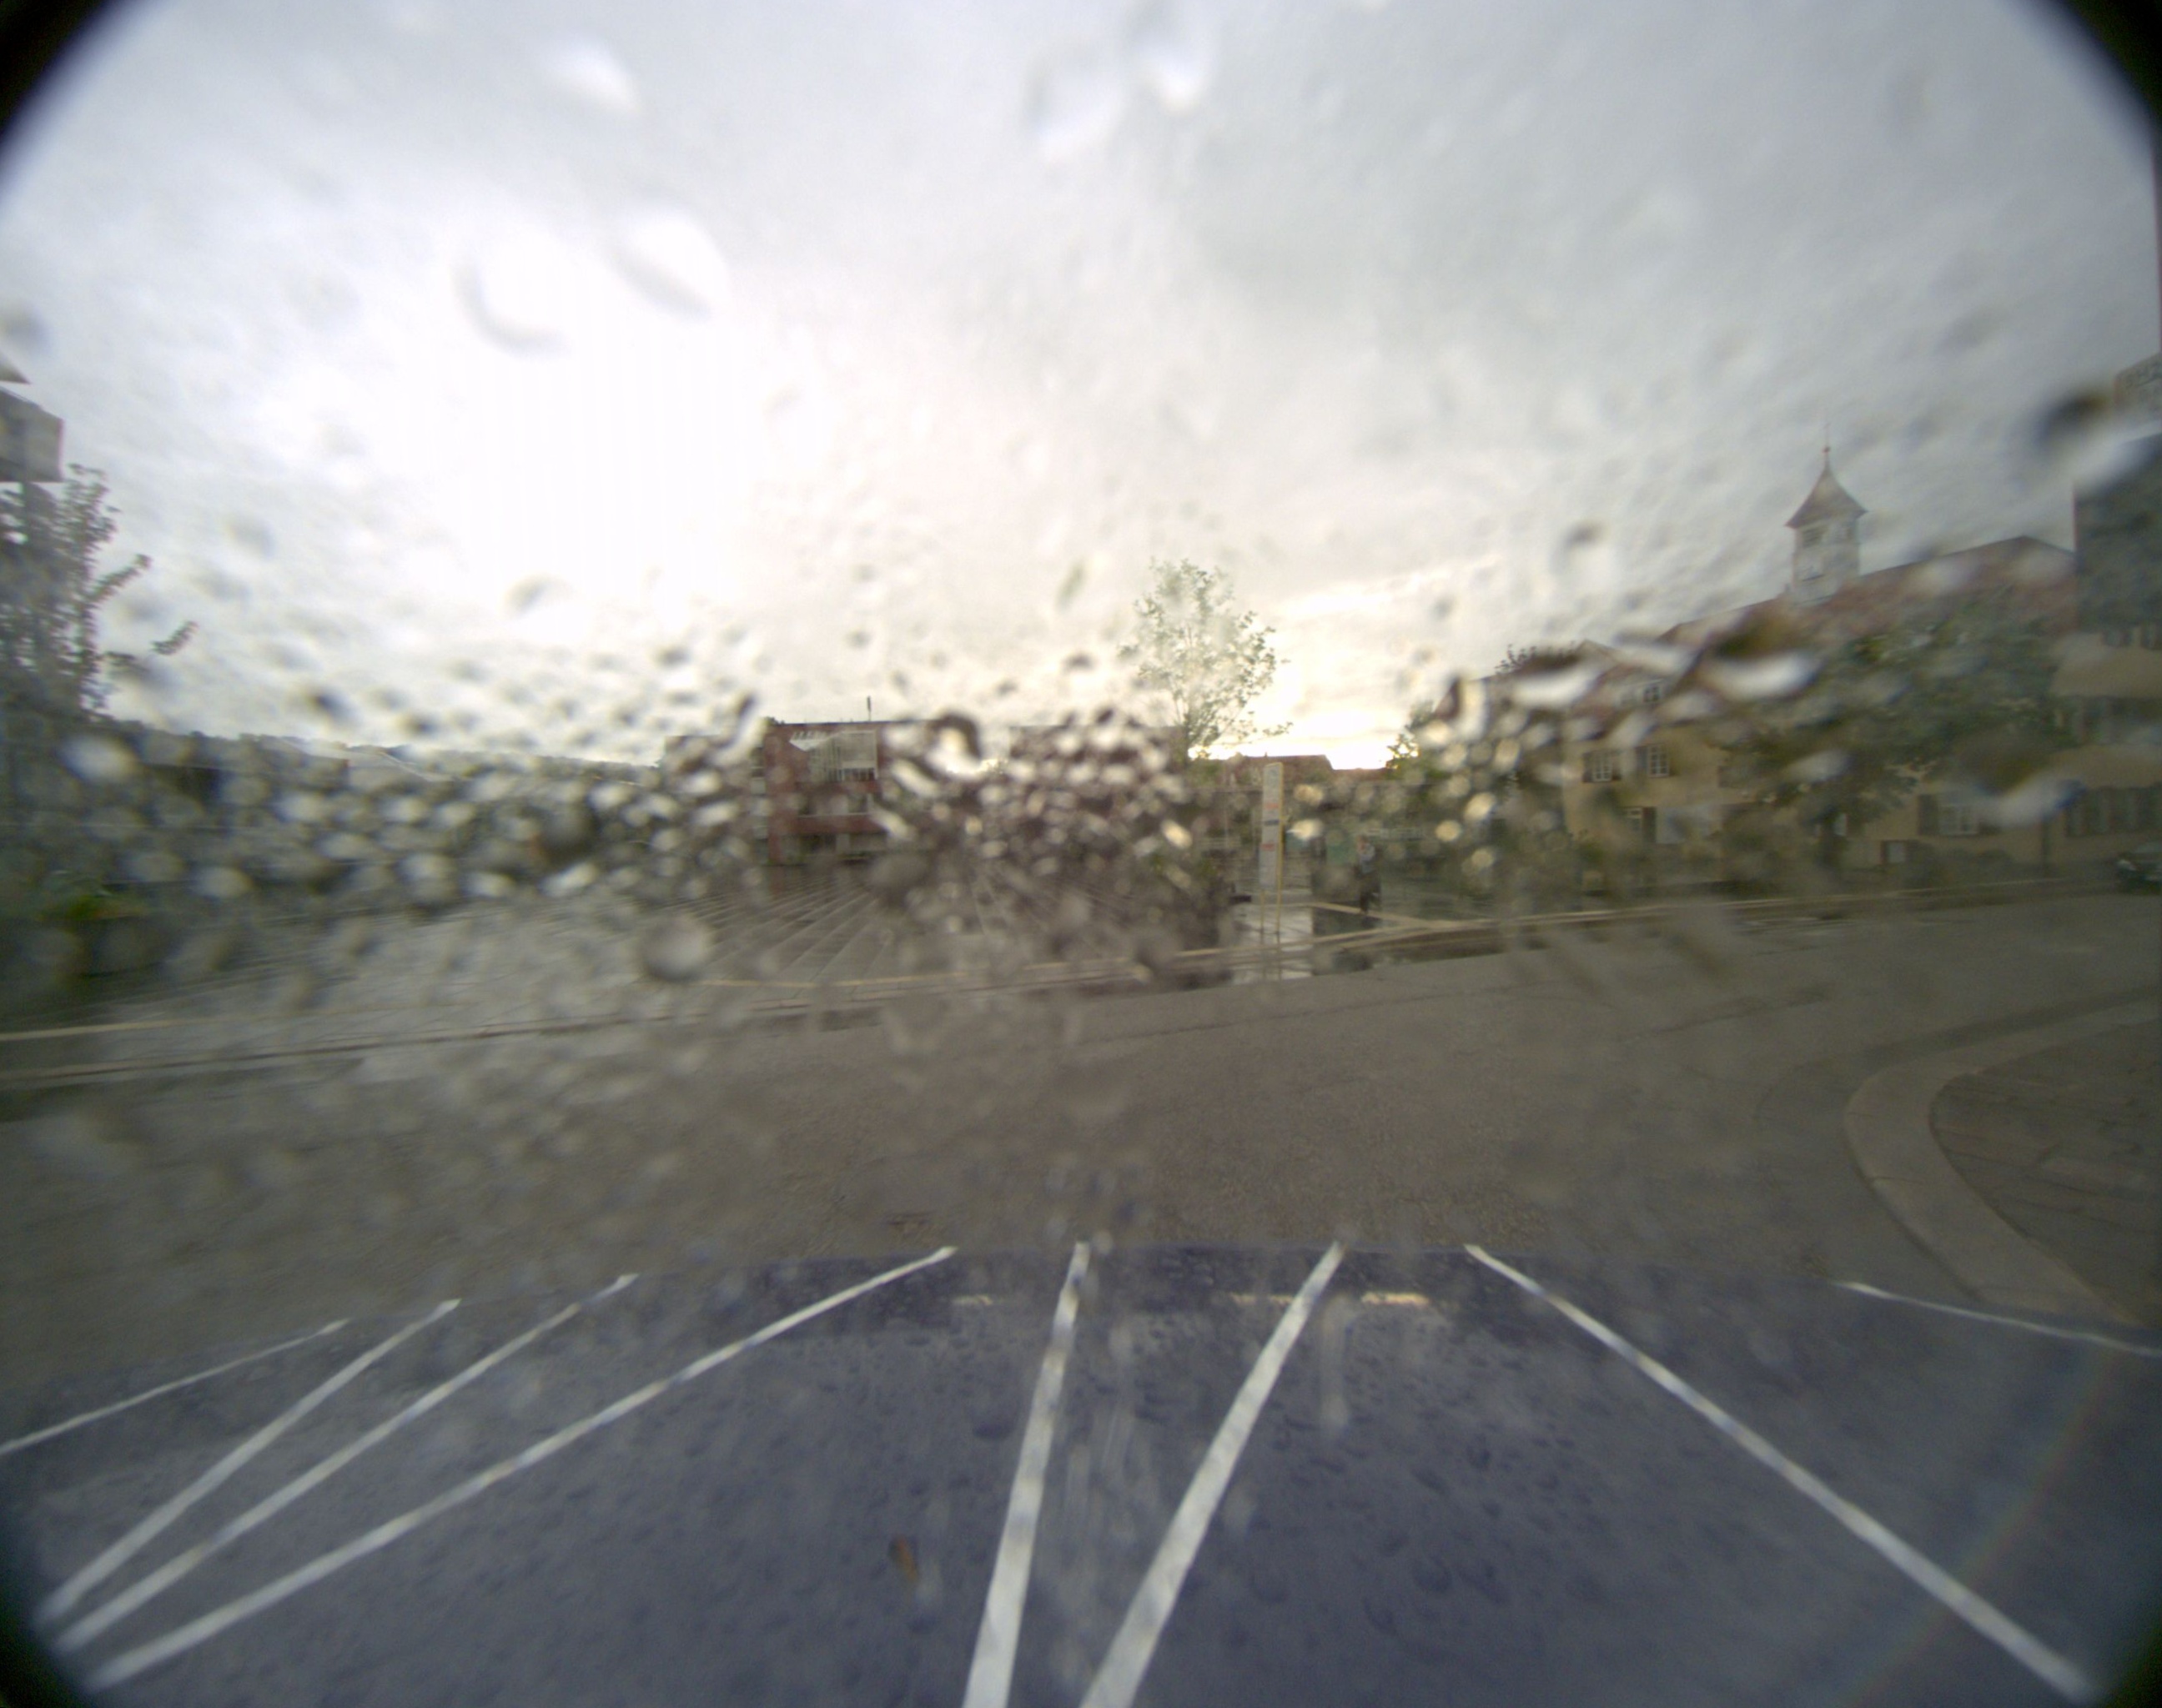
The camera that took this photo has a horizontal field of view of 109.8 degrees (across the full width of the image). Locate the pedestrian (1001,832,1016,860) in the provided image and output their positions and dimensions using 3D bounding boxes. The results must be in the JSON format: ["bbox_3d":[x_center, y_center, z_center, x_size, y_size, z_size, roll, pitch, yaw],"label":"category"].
[{"bbox_3d":[-5.260,-0.603,55.188,0.730,2.003,0.863,0,3,26],"label":"pedestrian"}]

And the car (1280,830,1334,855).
[{"bbox_3d":[21.139,-1.109,71.035,4.377,2.206,1.997,-2,3,-11],"label":"car"}]

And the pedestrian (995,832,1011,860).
[{"bbox_3d":[-5.585,-0.582,54.338,0.730,2.003,0.863,0,3,26],"label":"pedestrian"}]

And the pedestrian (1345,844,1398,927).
[{"bbox_3d":[5.878,0.613,15.404,0.694,1.608,0.729,-2,3,-19],"label":"pedestrian"}]

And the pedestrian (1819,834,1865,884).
[{"bbox_3d":[26.242,0.157,26.206,0.866,1.683,0.717,0,2,18],"label":"pedestrian"}]

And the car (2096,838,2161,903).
[{"bbox_3d":[28.103,0.384,19.333,3.848,1.547,1.734,-1,2,-22],"label":"car"}]
